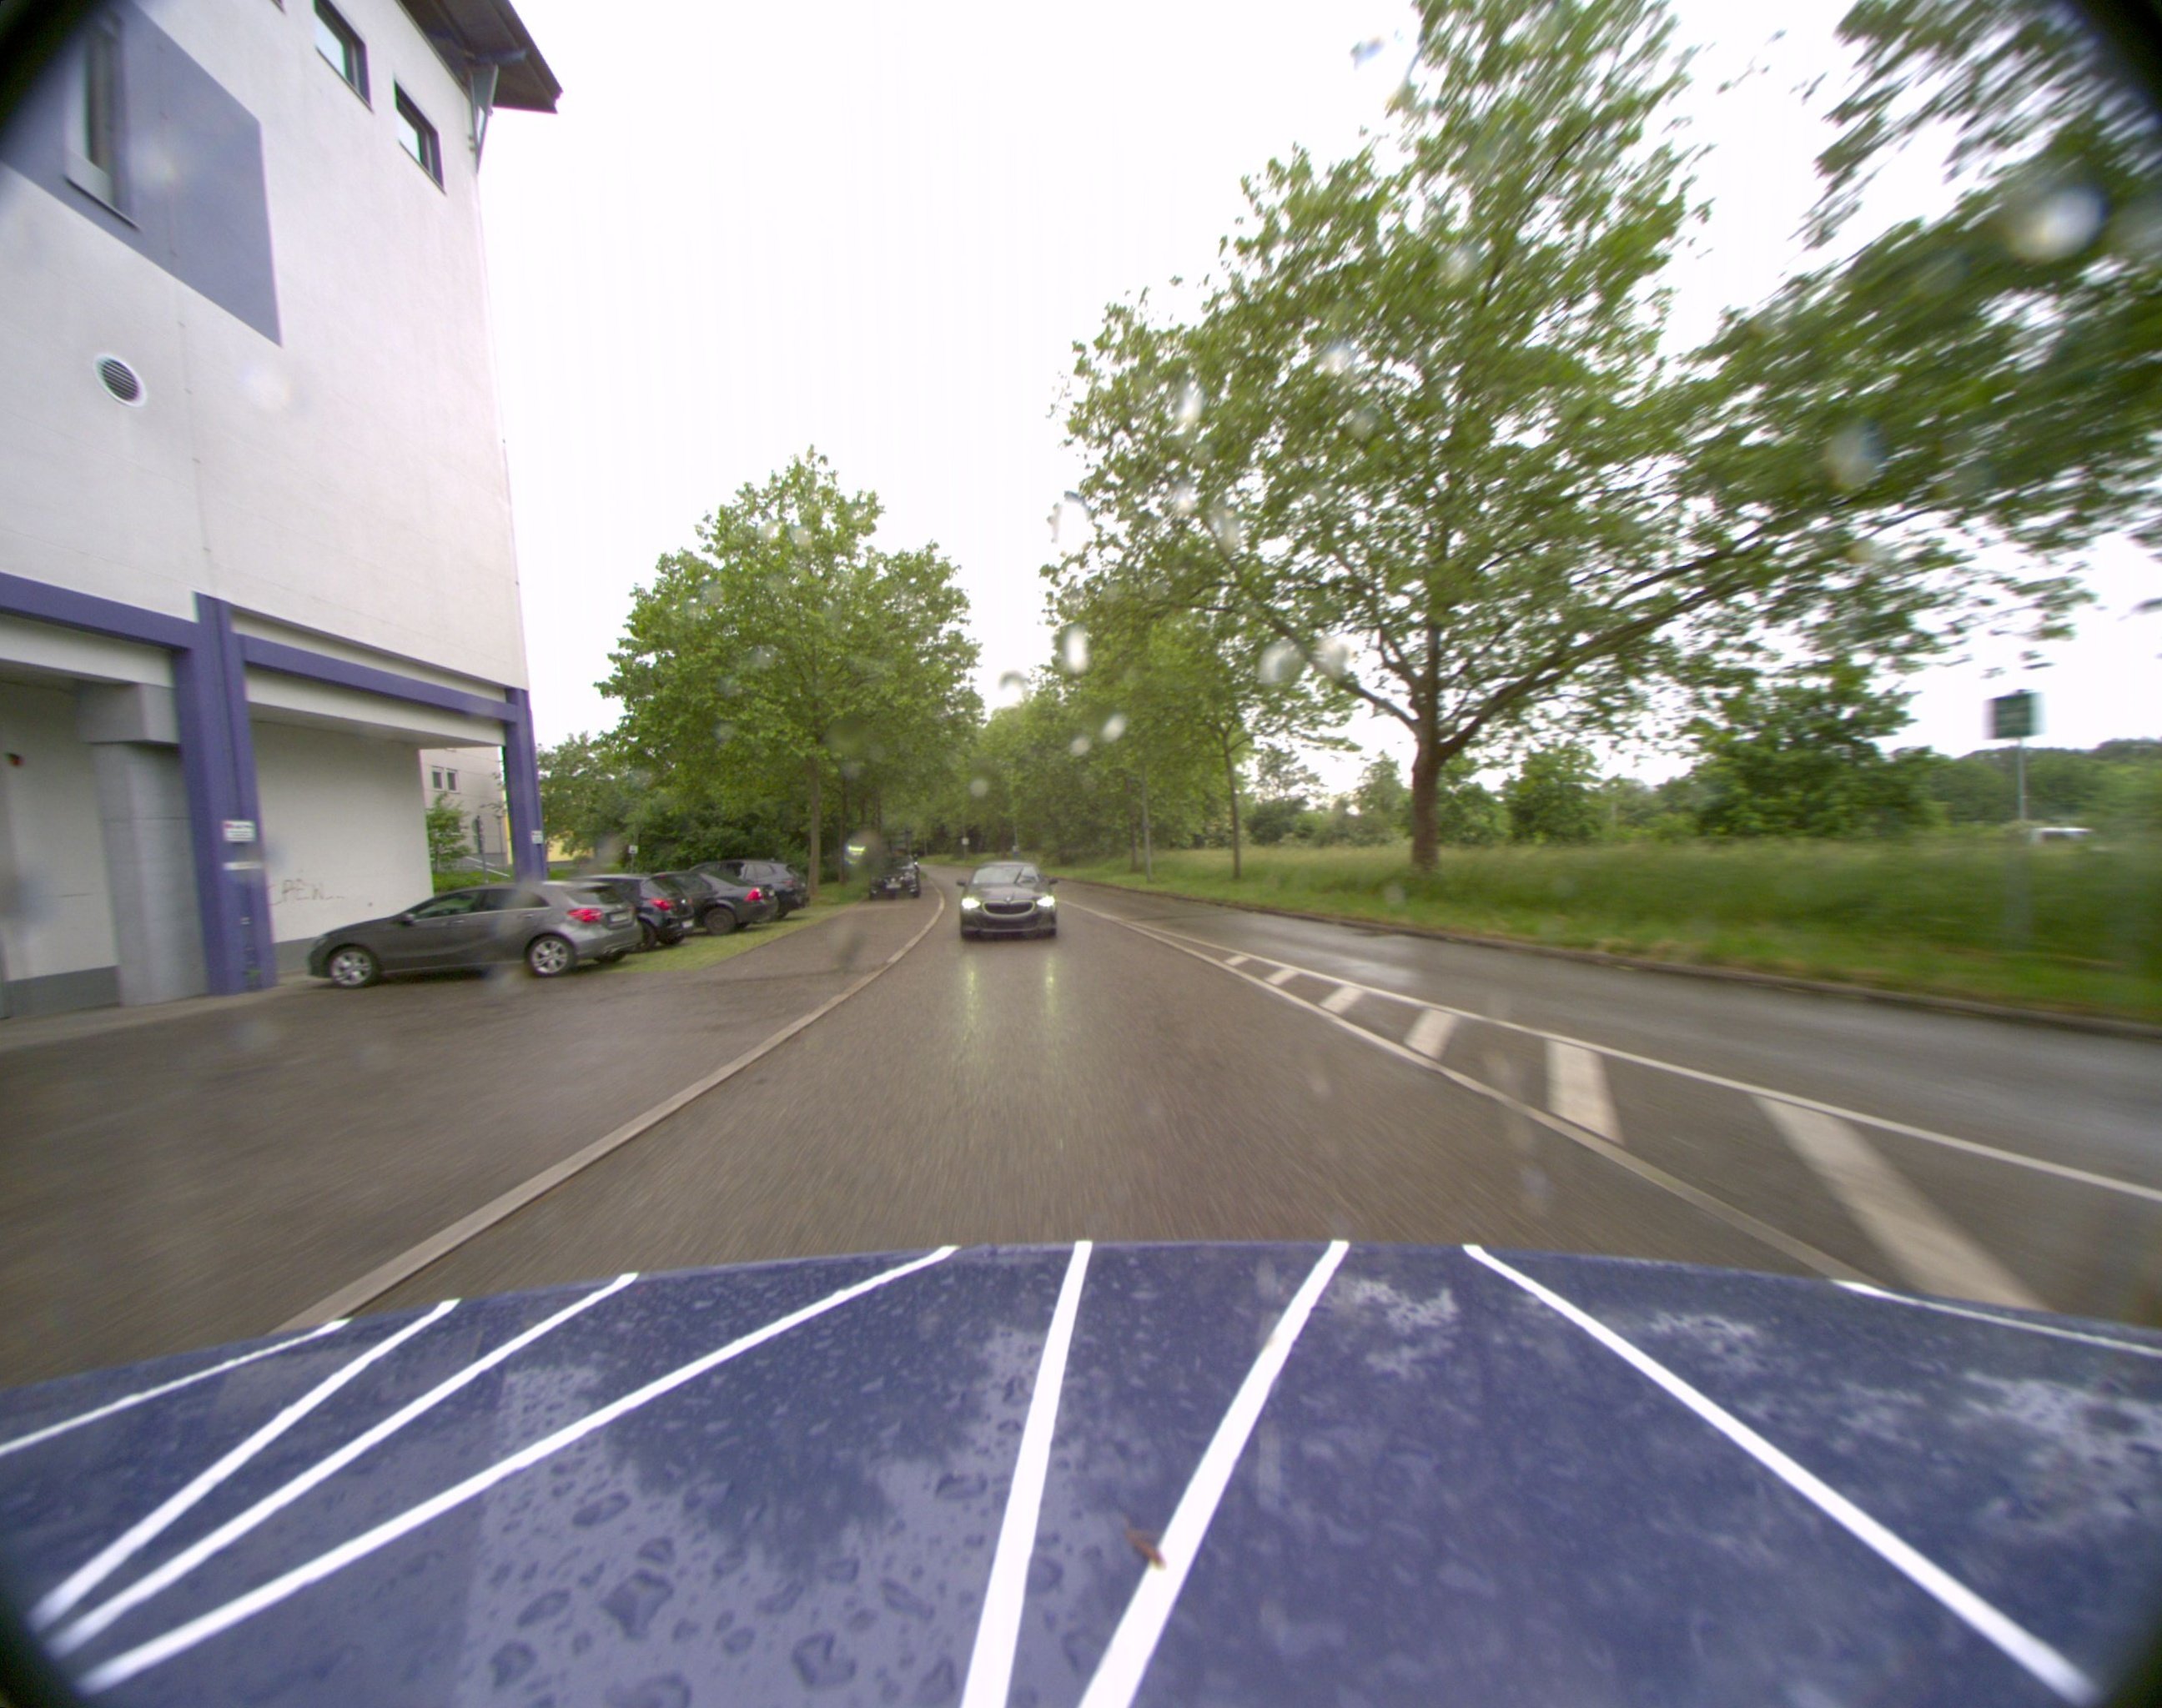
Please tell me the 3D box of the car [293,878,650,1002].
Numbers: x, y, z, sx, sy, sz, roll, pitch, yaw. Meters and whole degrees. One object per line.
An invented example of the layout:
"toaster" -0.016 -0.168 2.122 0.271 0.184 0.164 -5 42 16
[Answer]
"car" -9.229 1.258 11.820 3.950 1.445 1.720 -3 2 -5

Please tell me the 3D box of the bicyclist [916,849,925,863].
"bicyclist" -18.119 0.198 85.814 0.699 1.489 0.799 -5 2 -20

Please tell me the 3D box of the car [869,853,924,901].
"car" -7.057 0.836 29.458 1.807 1.593 4.366 -2 1 -11

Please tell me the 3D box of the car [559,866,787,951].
"car" -9.038 1.169 17.190 4.120 1.470 1.719 -3 2 -10

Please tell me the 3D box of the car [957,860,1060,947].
"car" -1.414 0.931 16.583 1.843 1.486 4.900 -3 0 -2

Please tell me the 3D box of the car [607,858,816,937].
"car" -9.460 1.065 19.812 4.485 1.670 1.766 -3 0 -10

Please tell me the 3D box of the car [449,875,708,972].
"car" -9.379 1.248 14.465 3.627 1.444 1.720 -3 1 -8

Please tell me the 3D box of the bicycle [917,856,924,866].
"bicycle" -18.129 0.789 85.905 0.454 1.128 1.830 -6 2 -20
